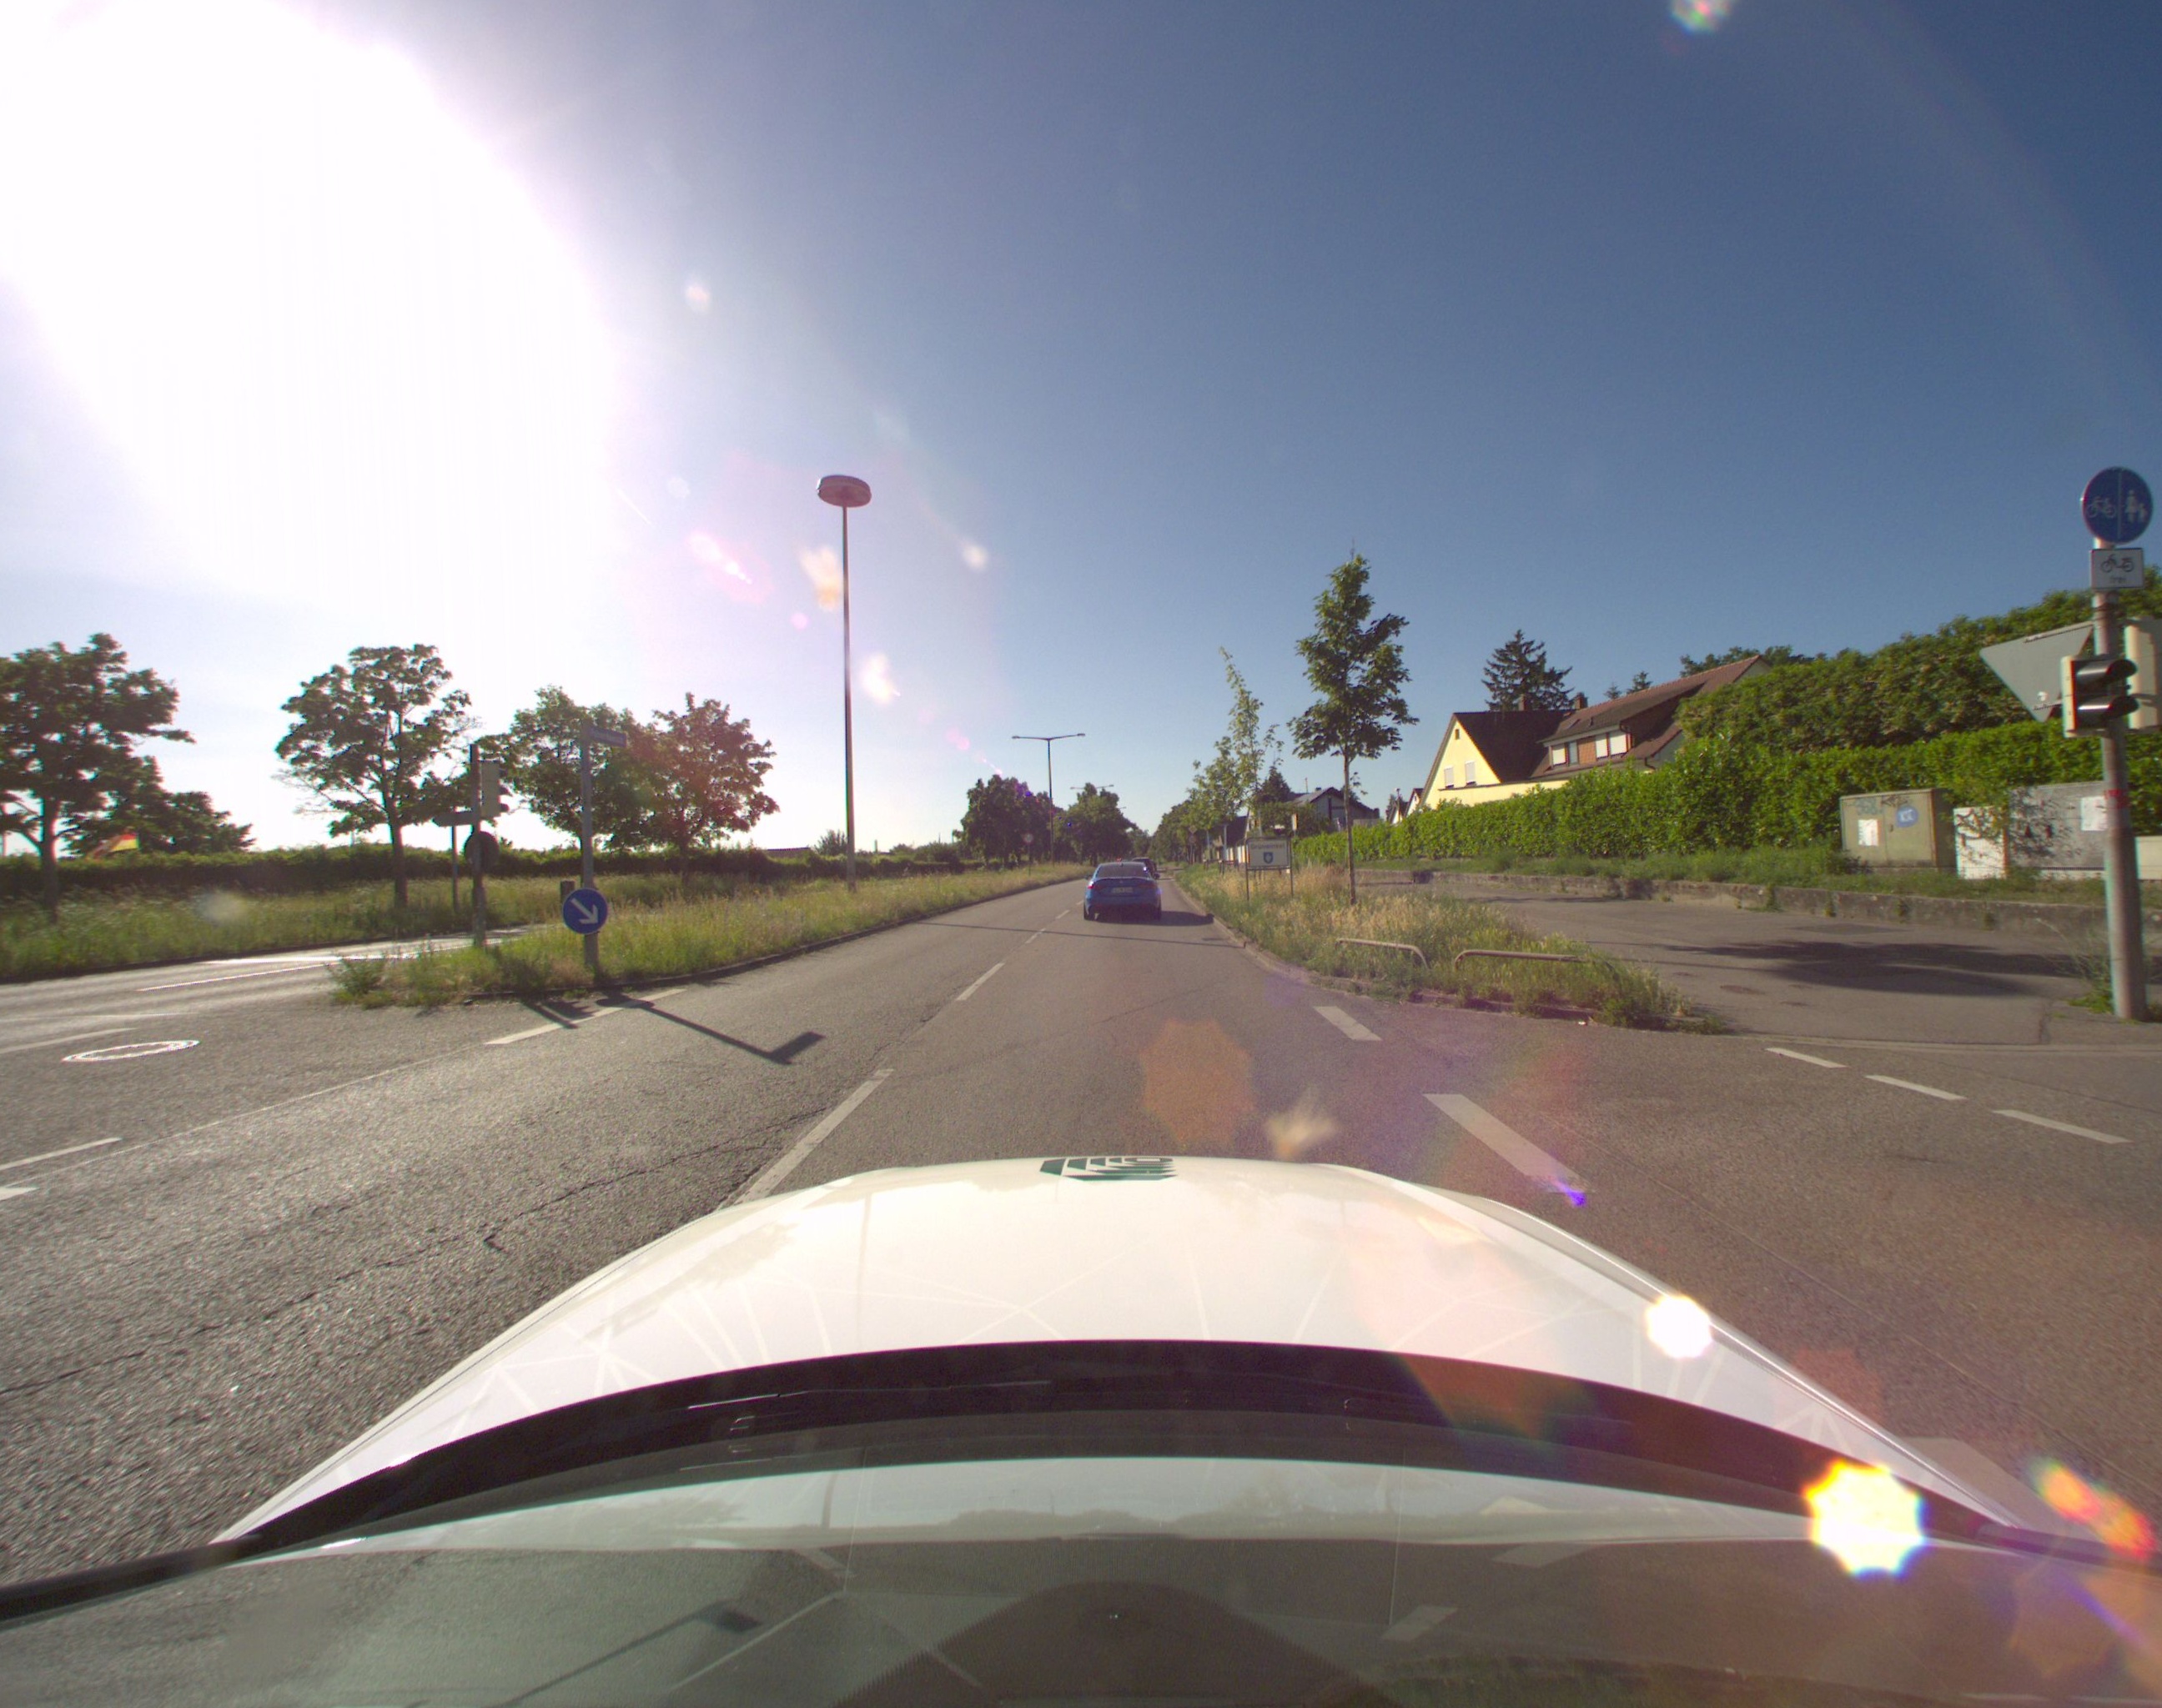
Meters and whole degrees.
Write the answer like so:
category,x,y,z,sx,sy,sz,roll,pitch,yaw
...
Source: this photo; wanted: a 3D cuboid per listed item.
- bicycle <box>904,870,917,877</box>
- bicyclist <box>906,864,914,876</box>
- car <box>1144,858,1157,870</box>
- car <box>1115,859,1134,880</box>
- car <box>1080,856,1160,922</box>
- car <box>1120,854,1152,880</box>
category,x,y,z,sx,sy,sz,roll,pitch,yaw
bicycle,-17.697,2.000,84.402,0.561,0.695,1.881,-2,0,12
bicyclist,-17.730,1.629,84.263,0.579,1.257,0.578,-2,-1,12
car,9.254,1.291,108.792,1.653,1.579,3.814,-2,-1,5
car,4.466,1.525,82.967,1.784,2.014,4.005,-2,-1,5
car,1.050,0.825,21.147,1.830,1.474,4.188,-1,0,3
car,3.679,0.861,54.720,1.908,1.579,4.183,-2,-1,1
